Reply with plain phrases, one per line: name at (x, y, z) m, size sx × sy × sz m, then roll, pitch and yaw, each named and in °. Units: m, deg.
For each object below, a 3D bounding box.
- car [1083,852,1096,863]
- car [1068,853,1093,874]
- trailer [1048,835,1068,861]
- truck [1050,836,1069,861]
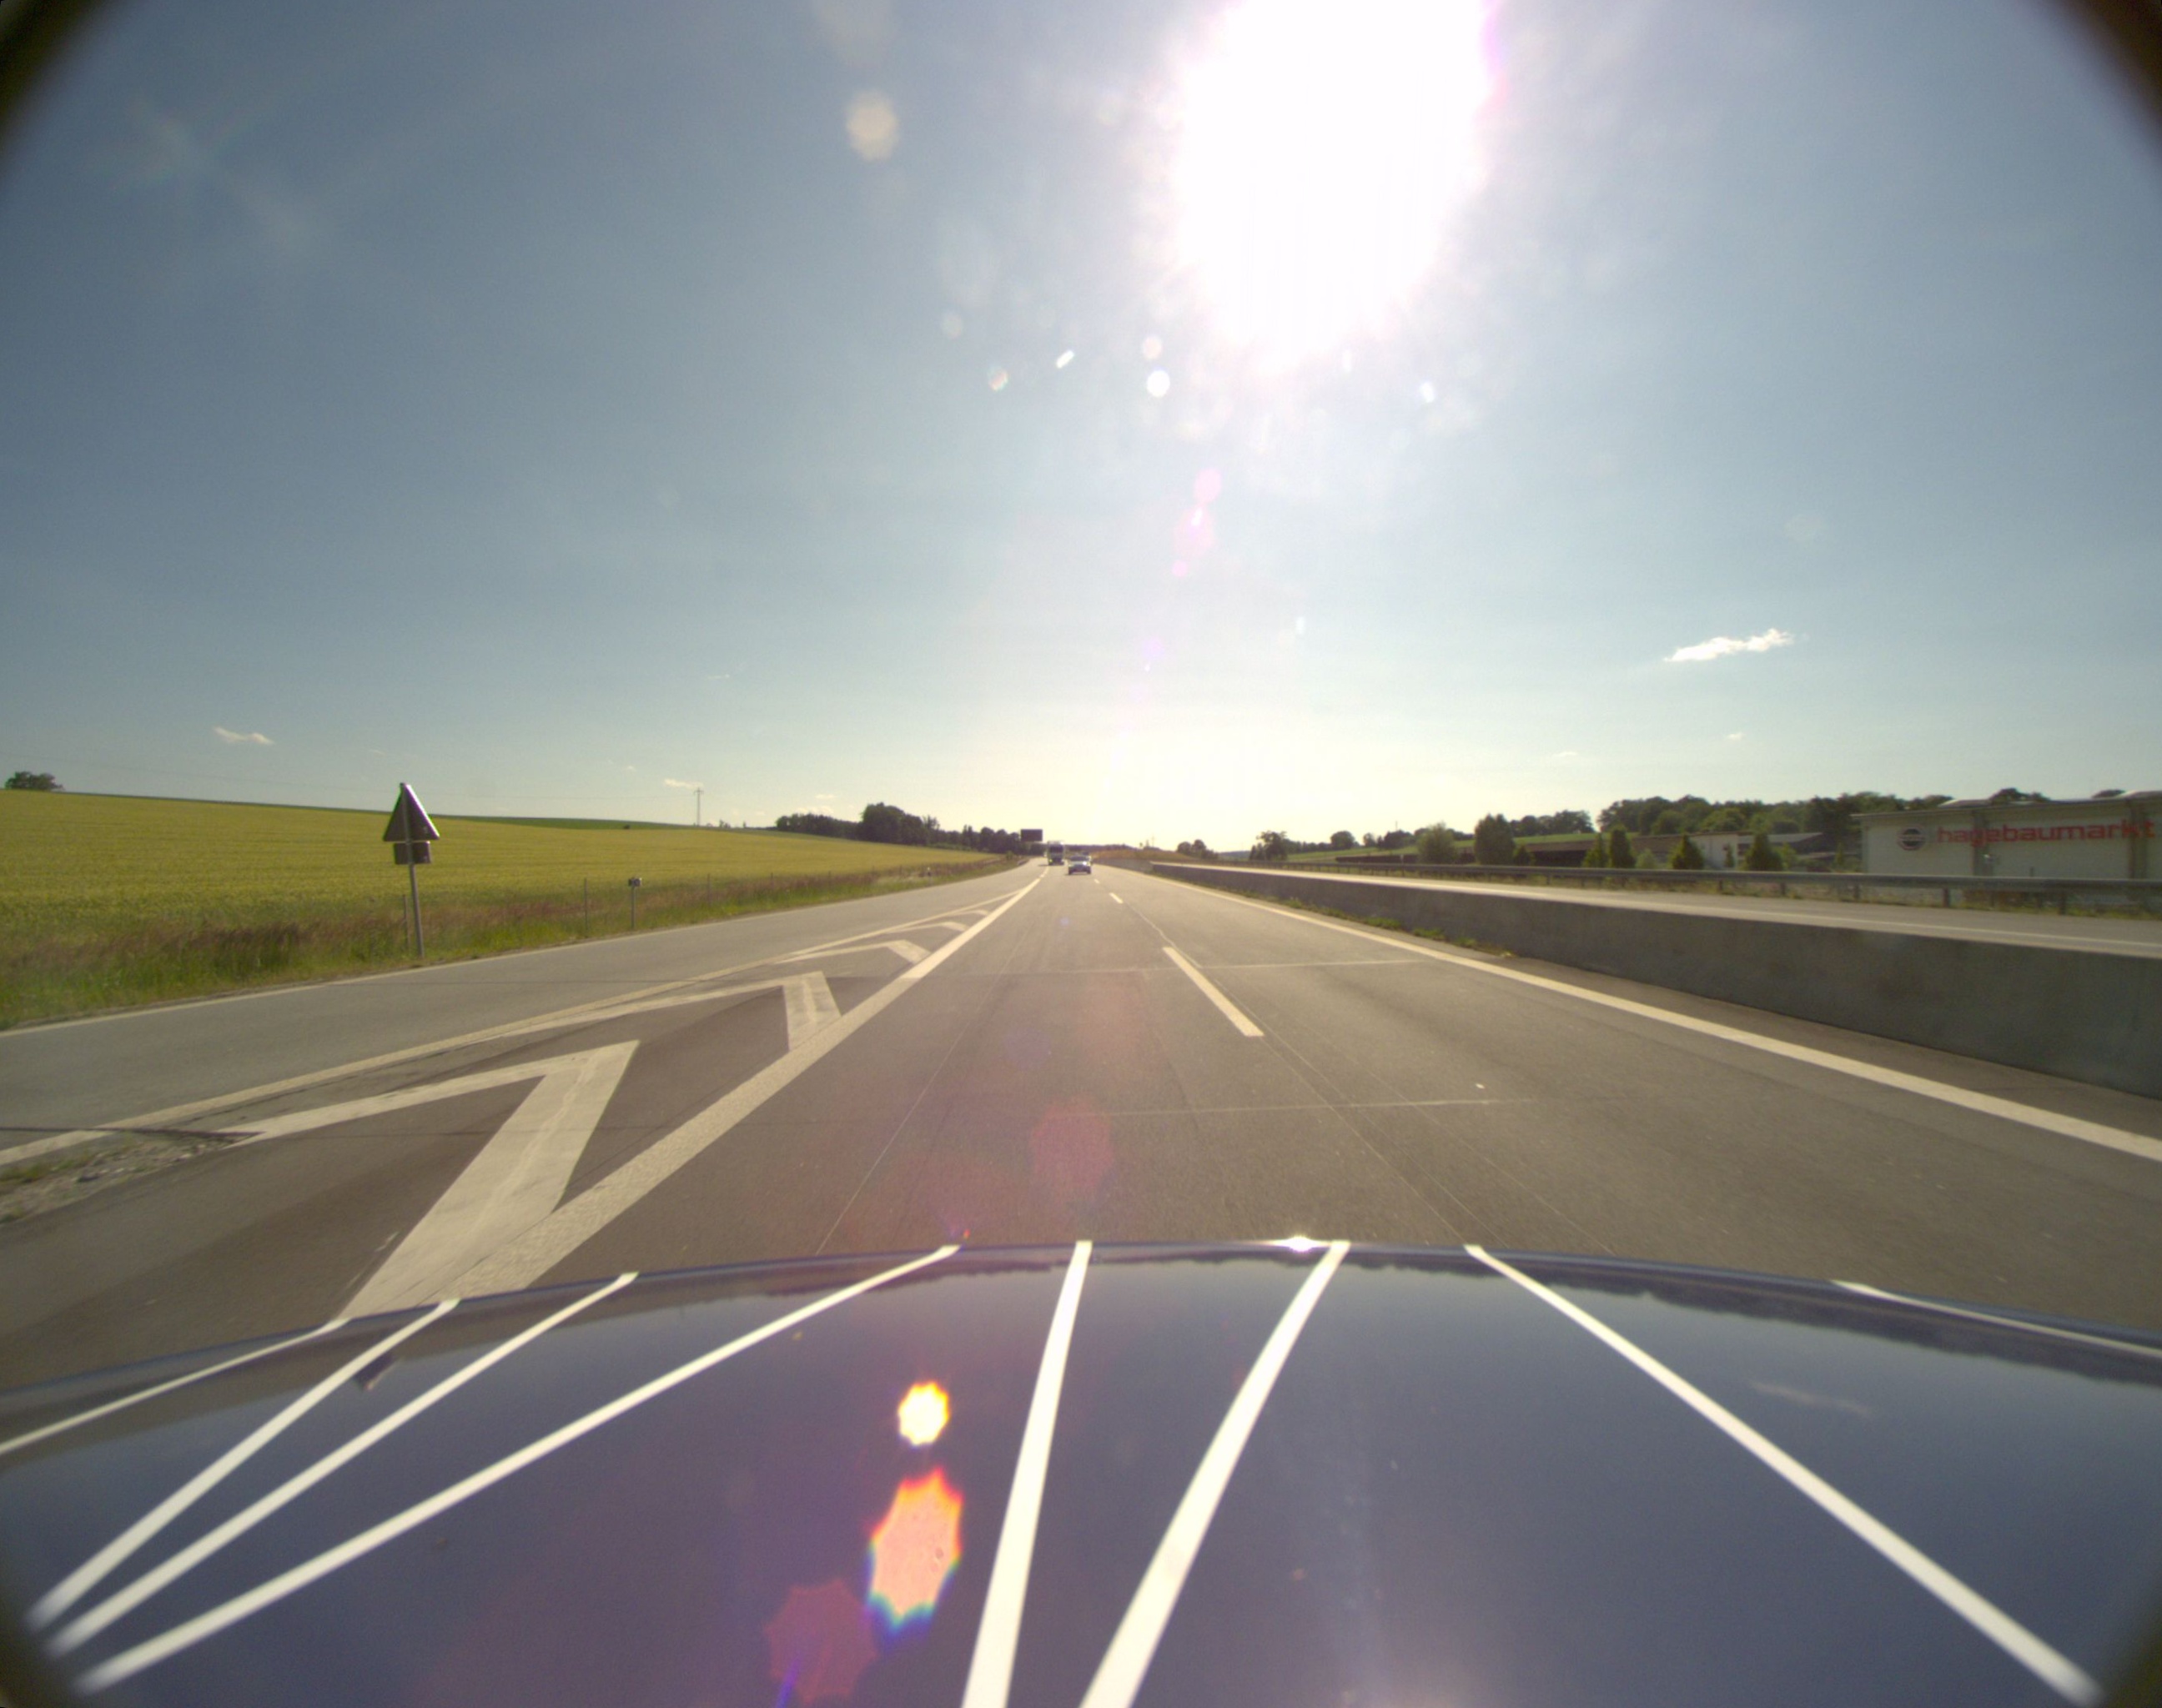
car at (1.290, 0.588, 117.743) m, size 1.899 × 1.560 × 4.000 m, roll -2°, pitch 1°, yaw 1°
car at (-0.035, 0.741, 62.690) m, size 1.891 × 1.565 × 3.792 m, roll -2°, pitch 0°, yaw 2°
trailer at (-4.019, -0.998, 131.959) m, size 3.185 × 4.269 × 15.454 m, roll 0°, pitch 0°, yaw -3°
truck at (-3.568, -0.869, 123.705) m, size 3.091 × 3.991 × 6.187 m, roll 0°, pitch 0°, yaw -2°
